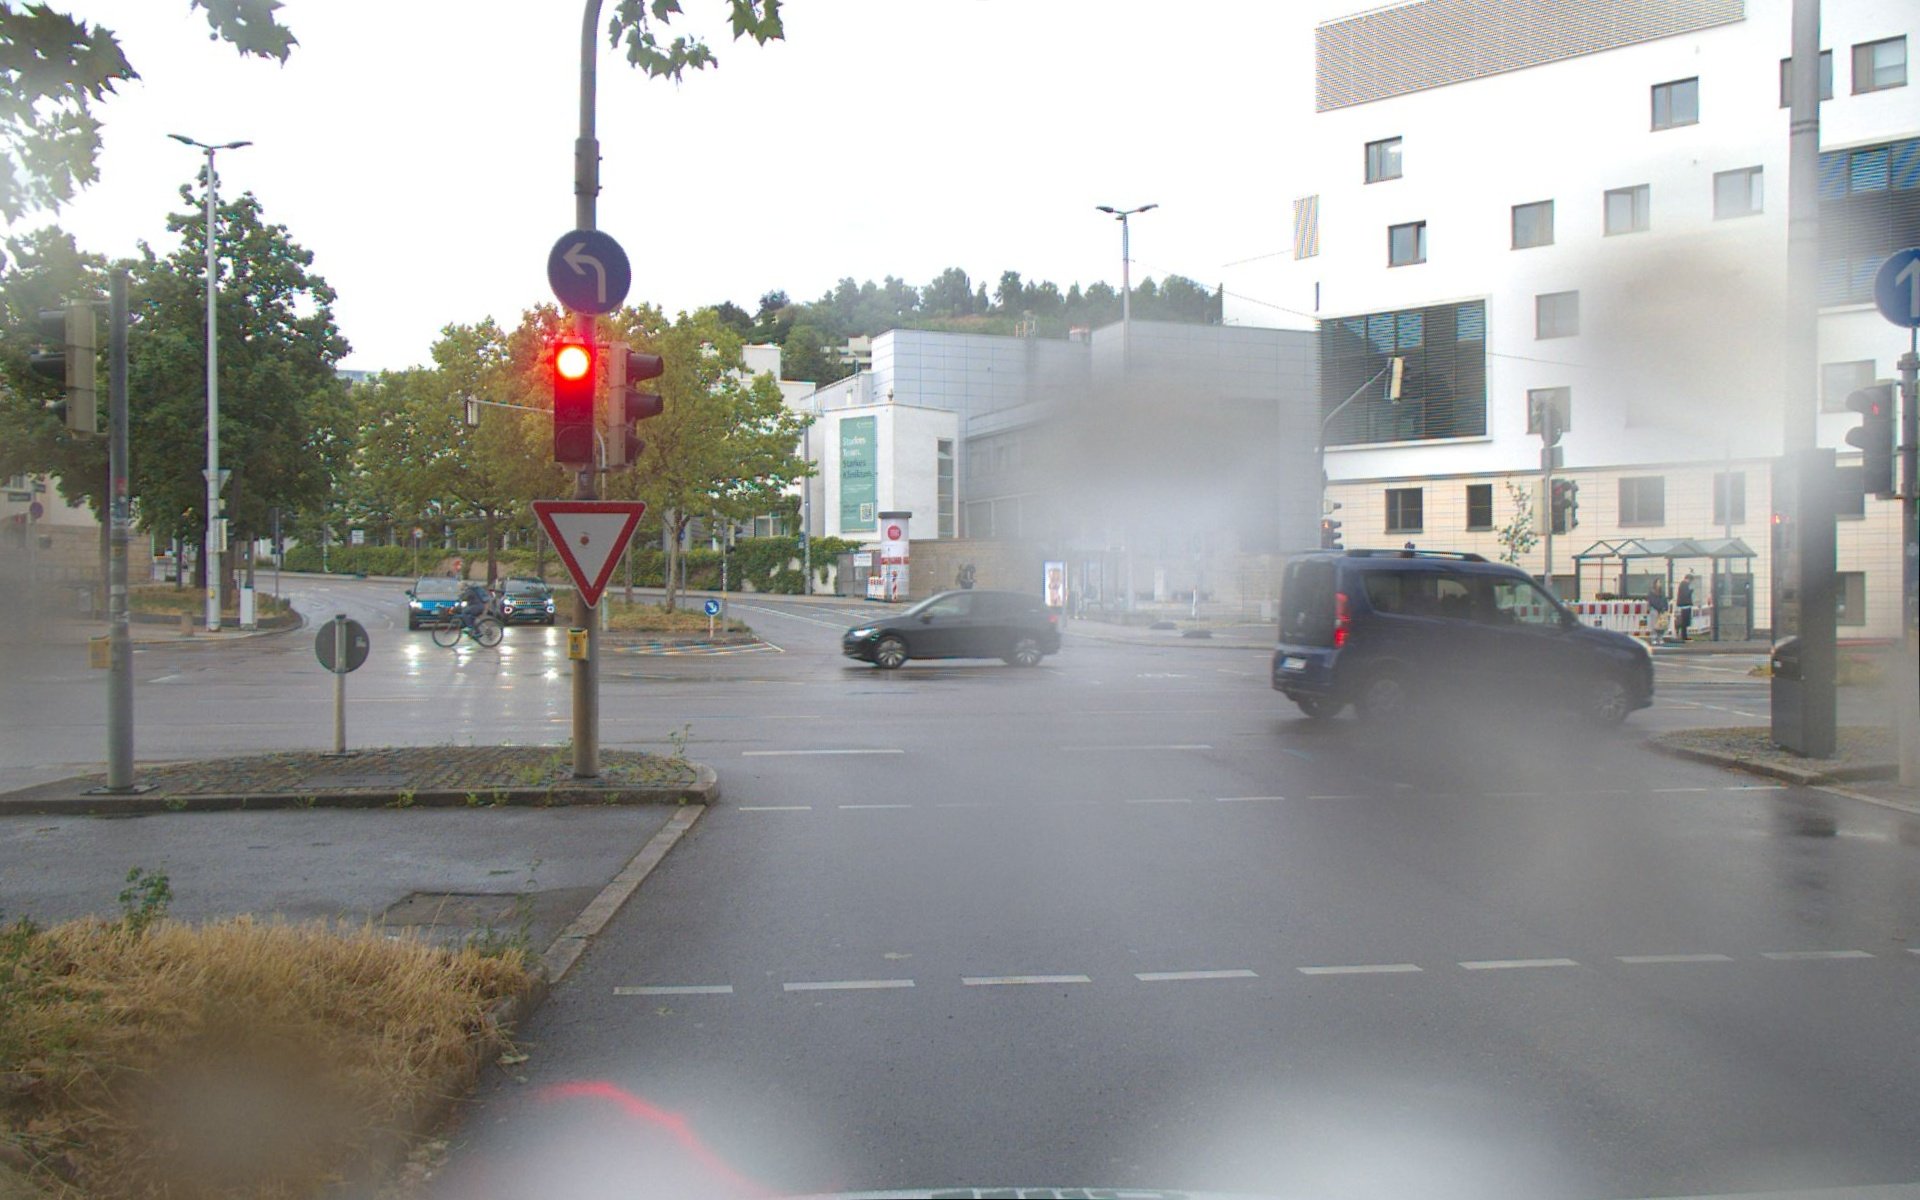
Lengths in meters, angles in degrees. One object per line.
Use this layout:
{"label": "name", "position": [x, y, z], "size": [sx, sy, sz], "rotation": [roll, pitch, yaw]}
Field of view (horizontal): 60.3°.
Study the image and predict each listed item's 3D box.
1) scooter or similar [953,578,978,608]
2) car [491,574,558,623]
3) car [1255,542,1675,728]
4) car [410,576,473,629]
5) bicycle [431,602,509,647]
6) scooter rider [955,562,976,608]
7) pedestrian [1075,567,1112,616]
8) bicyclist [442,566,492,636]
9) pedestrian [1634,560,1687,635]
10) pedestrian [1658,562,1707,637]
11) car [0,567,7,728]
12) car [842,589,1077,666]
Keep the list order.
{"label": "scooter or similar", "position": [0.229, -0.290, 70.723], "size": [0.582, 1.260, 1.305], "rotation": [2, -1, -22]}
{"label": "car", "position": [-15.175, -0.088, 57.485], "size": [1.764, 1.612, 3.973], "rotation": [0, 1, -22]}
{"label": "car", "position": [5.642, 0.342, 18.634], "size": [4.222, 1.941, 1.792], "rotation": [0, 1, -14]}
{"label": "car", "position": [-16.759, 0.039, 53.480], "size": [1.839, 1.591, 4.255], "rotation": [-1, 2, -18]}
{"label": "bicycle", "position": [-11.884, 0.594, 40.147], "size": [1.786, 1.075, 0.645], "rotation": [1, -1, -16]}
{"label": "scooter rider", "position": [0.227, -0.627, 70.692], "size": [0.713, 1.916, 0.628], "rotation": [2, -1, -21]}
{"label": "pedestrian", "position": [4.970, -0.312, 61.728], "size": [1.232, 1.749, 1.016], "rotation": [1, -1, -2]}
{"label": "bicyclist", "position": [-11.952, 0.026, 40.120], "size": [1.106, 1.661, 0.699], "rotation": [2, -1, -16]}
{"label": "pedestrian", "position": [18.023, -0.058, 42.569], "size": [0.934, 1.872, 0.821], "rotation": [2, -1, -12]}
{"label": "pedestrian", "position": [19.522, -0.007, 44.714], "size": [0.980, 1.969, 0.955], "rotation": [1, -1, 9]}
{"label": "car", "position": [-12.547, 0.520, 16.821], "size": [4.581, 1.735, 1.796], "rotation": [0, 1, -5]}
{"label": "car", "position": [-0.063, 0.515, 31.761], "size": [4.291, 1.402, 1.997], "rotation": [0, 1, -8]}
